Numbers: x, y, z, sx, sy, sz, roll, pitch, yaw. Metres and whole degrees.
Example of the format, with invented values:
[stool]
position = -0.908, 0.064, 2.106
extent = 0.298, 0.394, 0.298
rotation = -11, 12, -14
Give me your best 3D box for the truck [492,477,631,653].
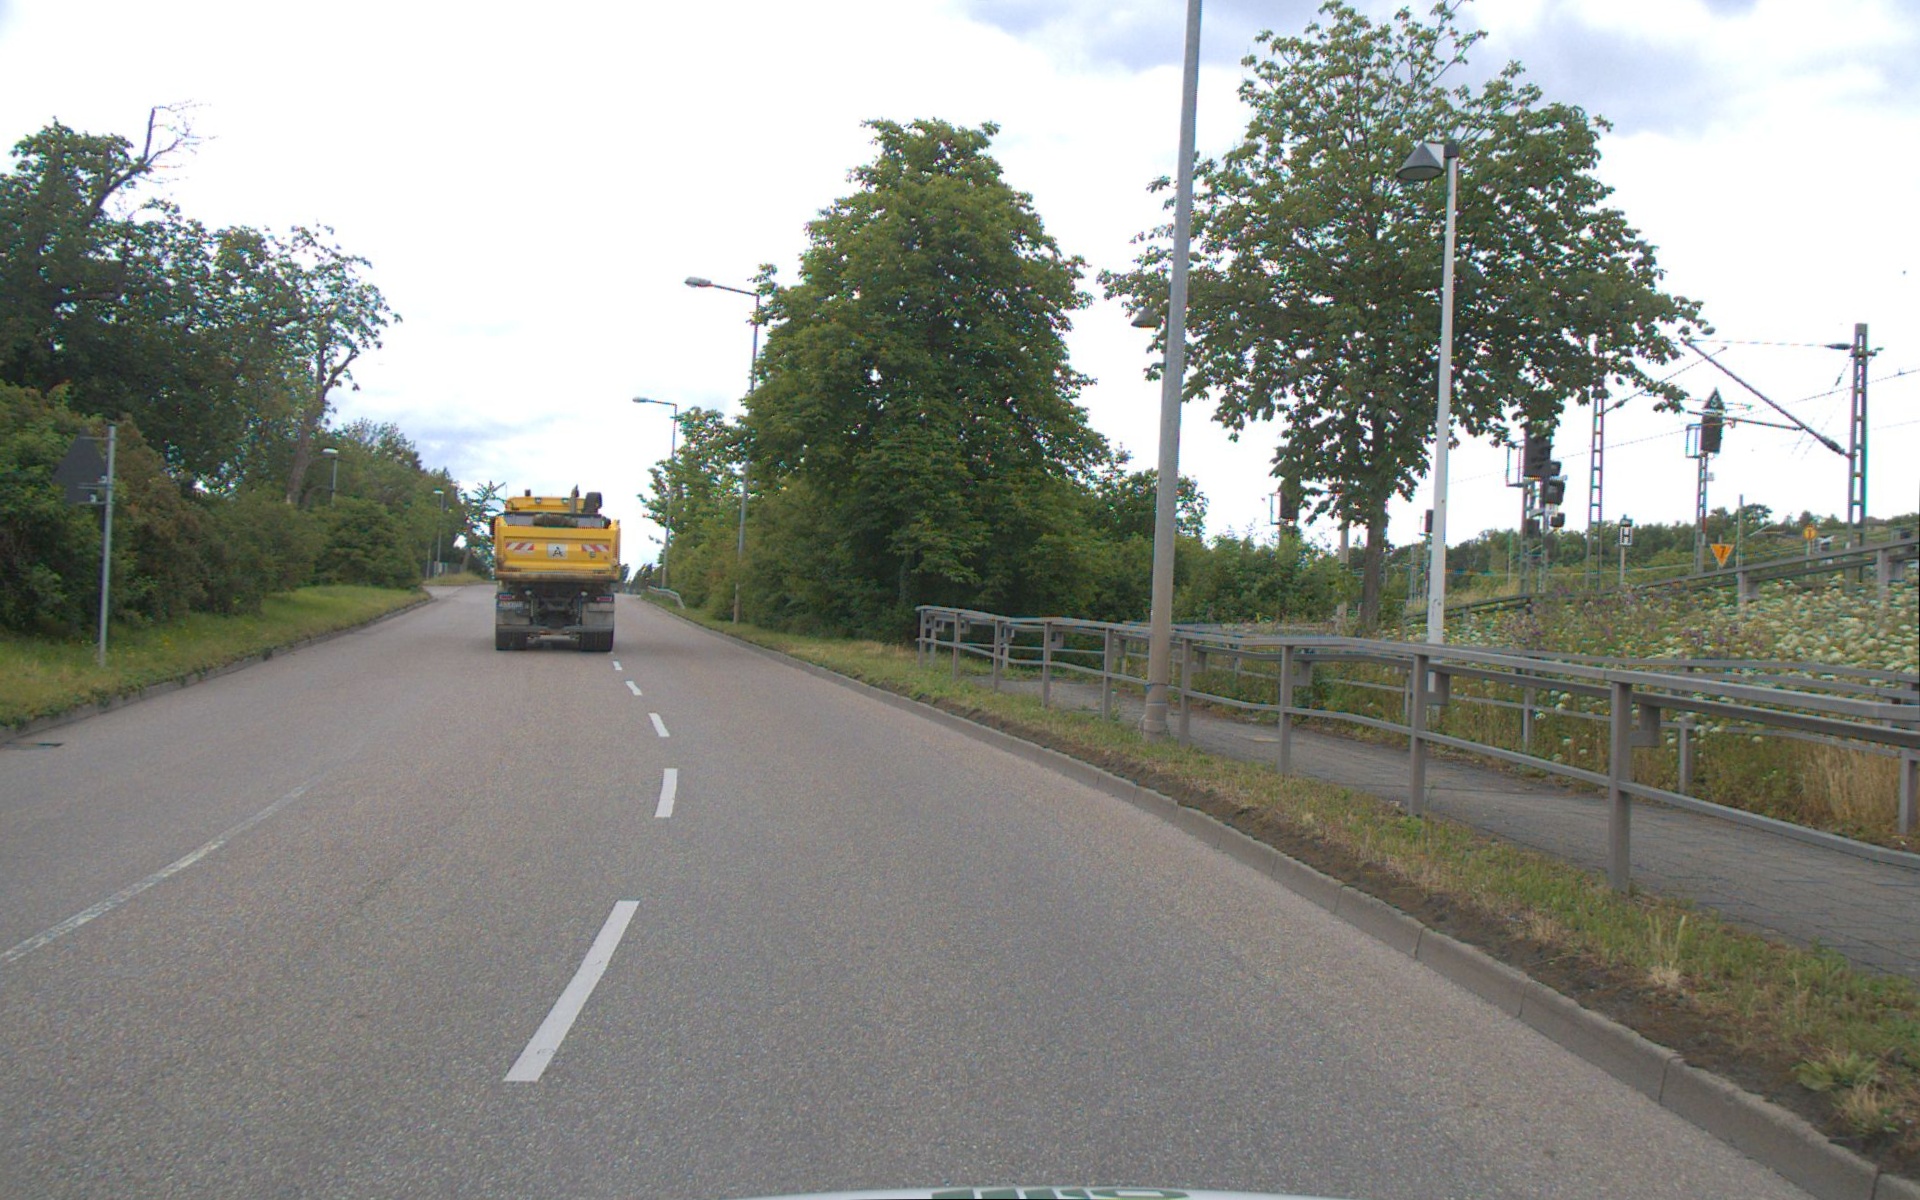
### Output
[truck]
position = -9.102, -0.770, 37.677
extent = 2.718, 3.544, 8.099
rotation = 1, 1, -14
